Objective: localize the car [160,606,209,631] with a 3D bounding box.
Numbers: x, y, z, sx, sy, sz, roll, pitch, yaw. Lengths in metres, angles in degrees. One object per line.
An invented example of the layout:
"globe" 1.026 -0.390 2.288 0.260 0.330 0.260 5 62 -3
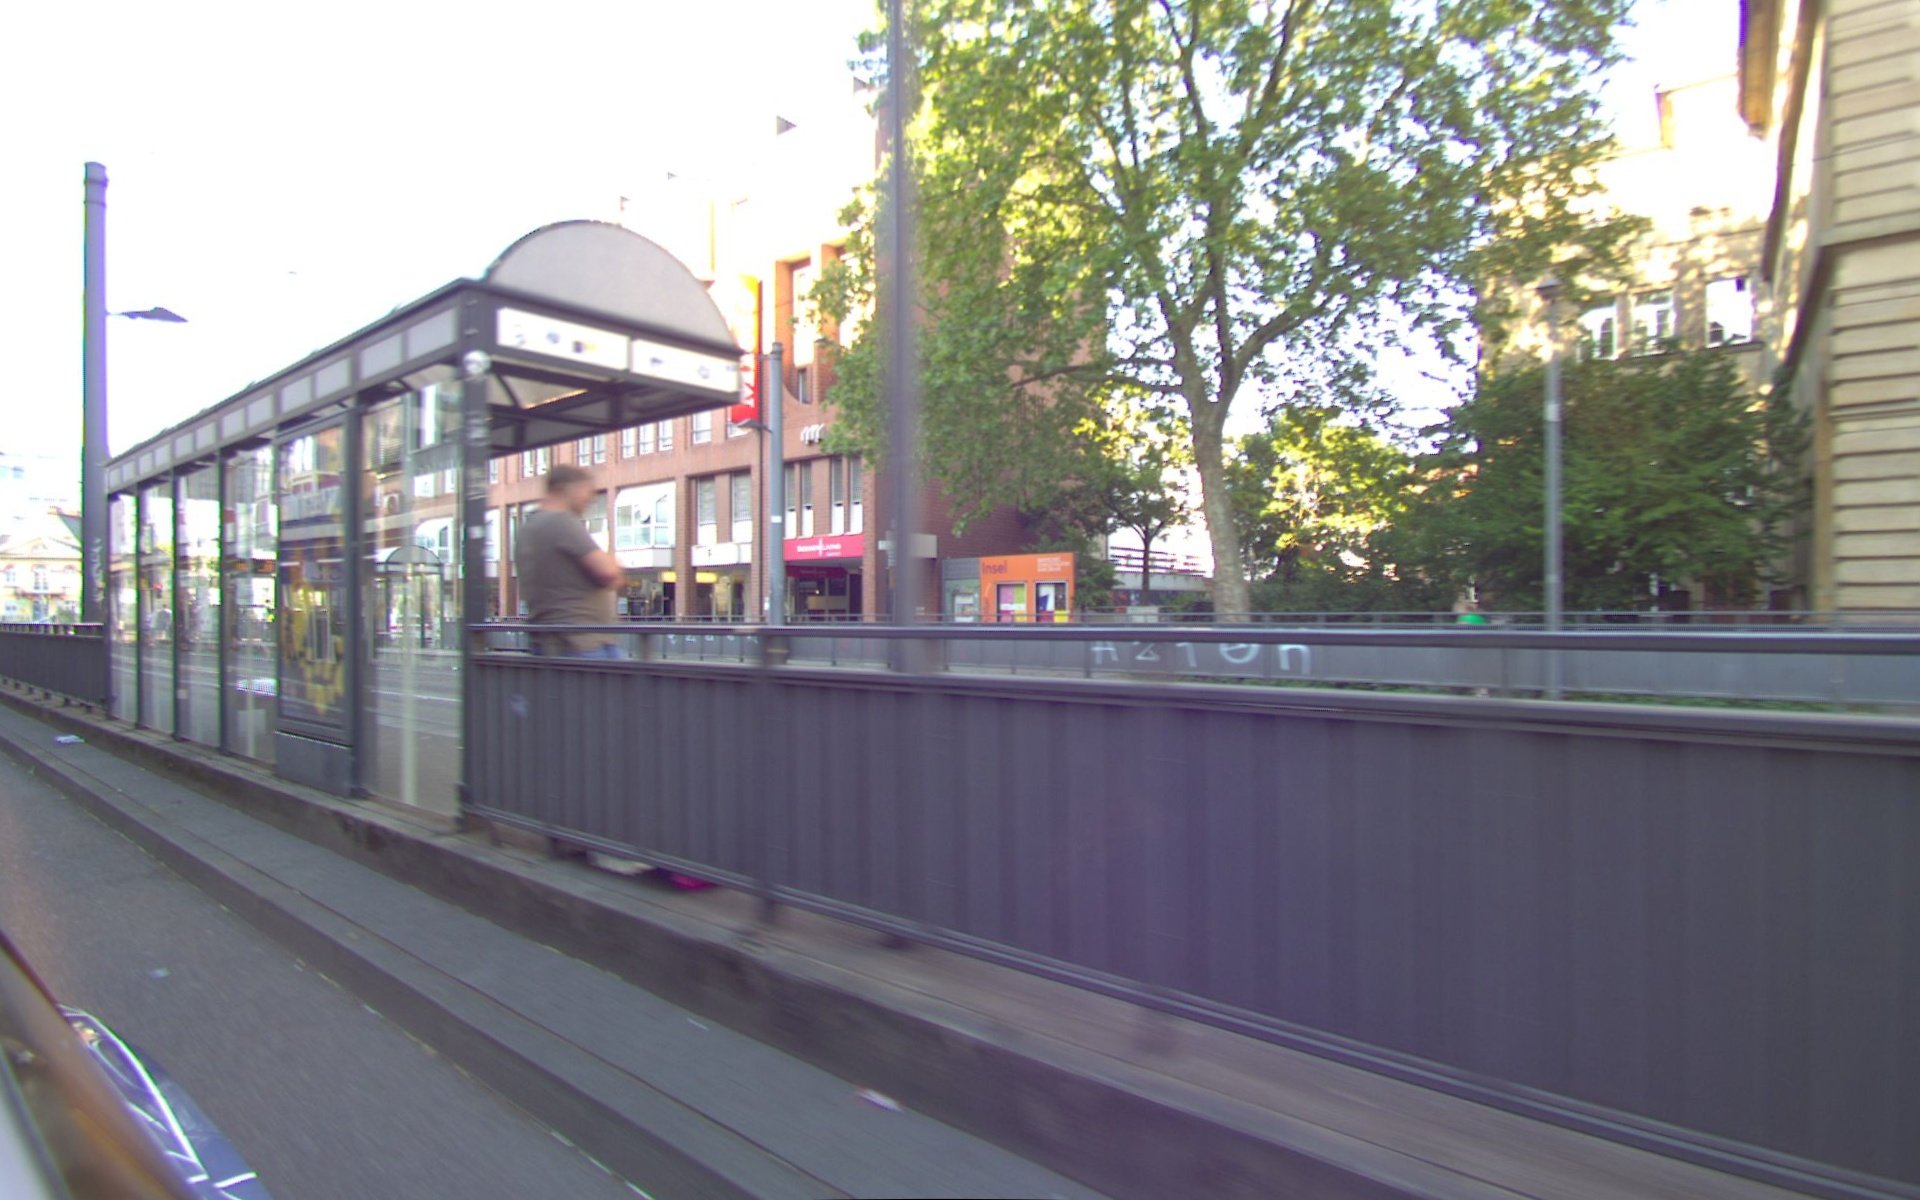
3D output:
"car" -100.120 2.311 130.730 2.501 3.071 6.390 2 -1 -13

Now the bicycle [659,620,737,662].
"bicycle" -9.389 1.444 36.323 2.578 1.291 0.841 -3 2 -42

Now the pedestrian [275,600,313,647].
"pedestrian" -24.286 0.841 36.900 0.967 1.674 0.902 -1 -1 40

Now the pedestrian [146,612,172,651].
"pedestrian" -38.384 1.492 48.493 0.848 1.780 0.812 -3 2 -44

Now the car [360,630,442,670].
"car" -25.137 2.207 45.460 4.289 1.606 1.889 1 -1 41

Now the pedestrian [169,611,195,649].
"pedestrian" -37.805 1.454 49.177 0.848 1.780 0.812 -3 2 -44

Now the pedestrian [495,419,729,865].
"pedestrian" -1.525 0.167 4.422 0.849 1.725 0.616 -1 -1 40
